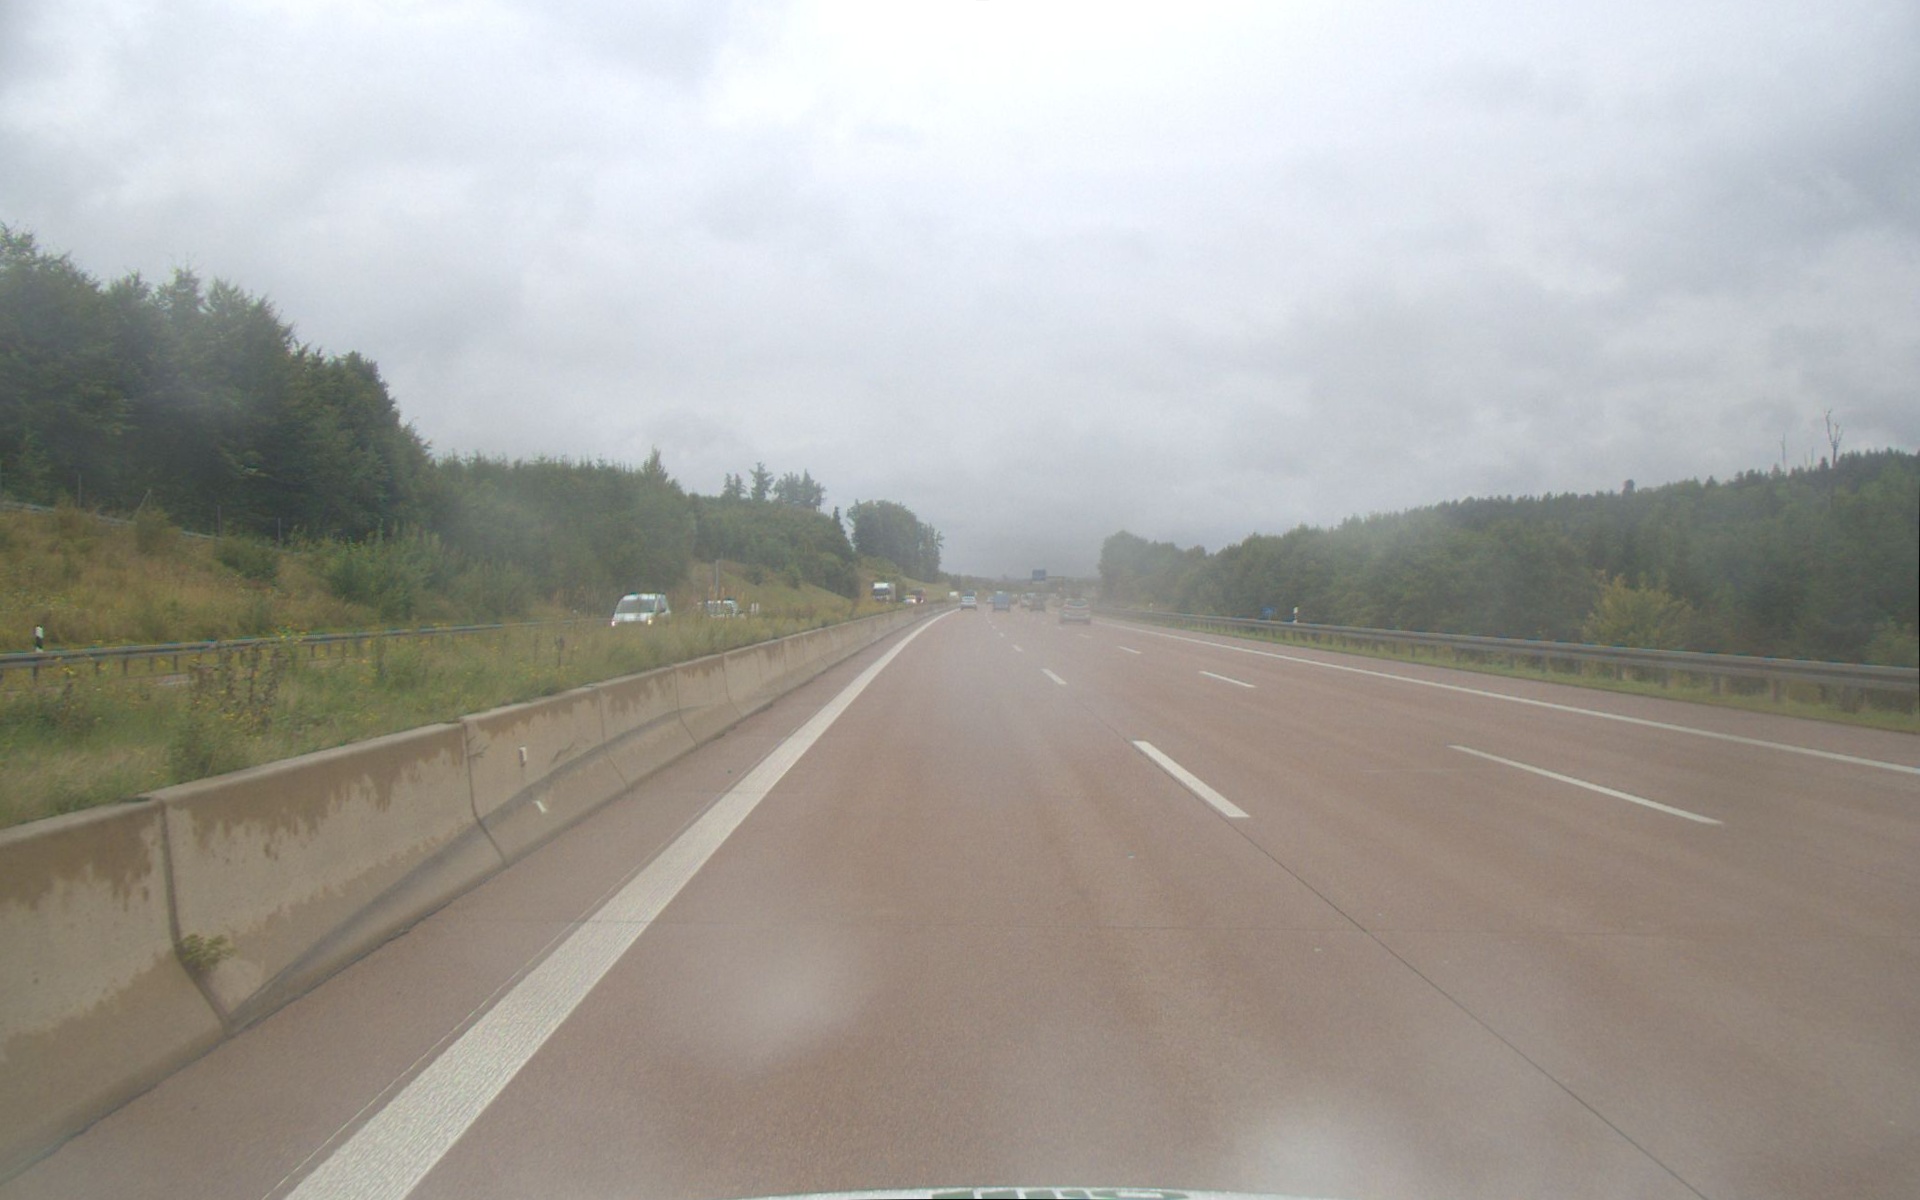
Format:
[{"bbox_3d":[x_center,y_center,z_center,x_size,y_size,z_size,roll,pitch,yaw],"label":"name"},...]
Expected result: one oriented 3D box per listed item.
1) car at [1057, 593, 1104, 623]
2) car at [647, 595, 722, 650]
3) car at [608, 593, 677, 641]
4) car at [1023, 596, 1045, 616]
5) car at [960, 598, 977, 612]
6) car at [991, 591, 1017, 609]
[{"bbox_3d":[7.363,0.518,101.443,2.276,1.780,4.873,1,-1,-3],"label":"car"},{"bbox_3d":[-8.900,0.744,53.782,1.643,1.676,4.444,1,-1,0],"label":"car"},{"bbox_3d":[-12.208,0.663,63.804,1.698,1.752,4.762,1,-1,0],"label":"car"},{"bbox_3d":[8.171,0.674,182.976,1.954,2.049,3.997,1,-1,-4],"label":"car"},{"bbox_3d":[0.972,0.605,188.252,1.835,1.470,4.876,1,-1,0],"label":"car"},{"bbox_3d":[4.679,0.007,176.752,2.276,1.780,4.873,1,-1,-3],"label":"car"}]
